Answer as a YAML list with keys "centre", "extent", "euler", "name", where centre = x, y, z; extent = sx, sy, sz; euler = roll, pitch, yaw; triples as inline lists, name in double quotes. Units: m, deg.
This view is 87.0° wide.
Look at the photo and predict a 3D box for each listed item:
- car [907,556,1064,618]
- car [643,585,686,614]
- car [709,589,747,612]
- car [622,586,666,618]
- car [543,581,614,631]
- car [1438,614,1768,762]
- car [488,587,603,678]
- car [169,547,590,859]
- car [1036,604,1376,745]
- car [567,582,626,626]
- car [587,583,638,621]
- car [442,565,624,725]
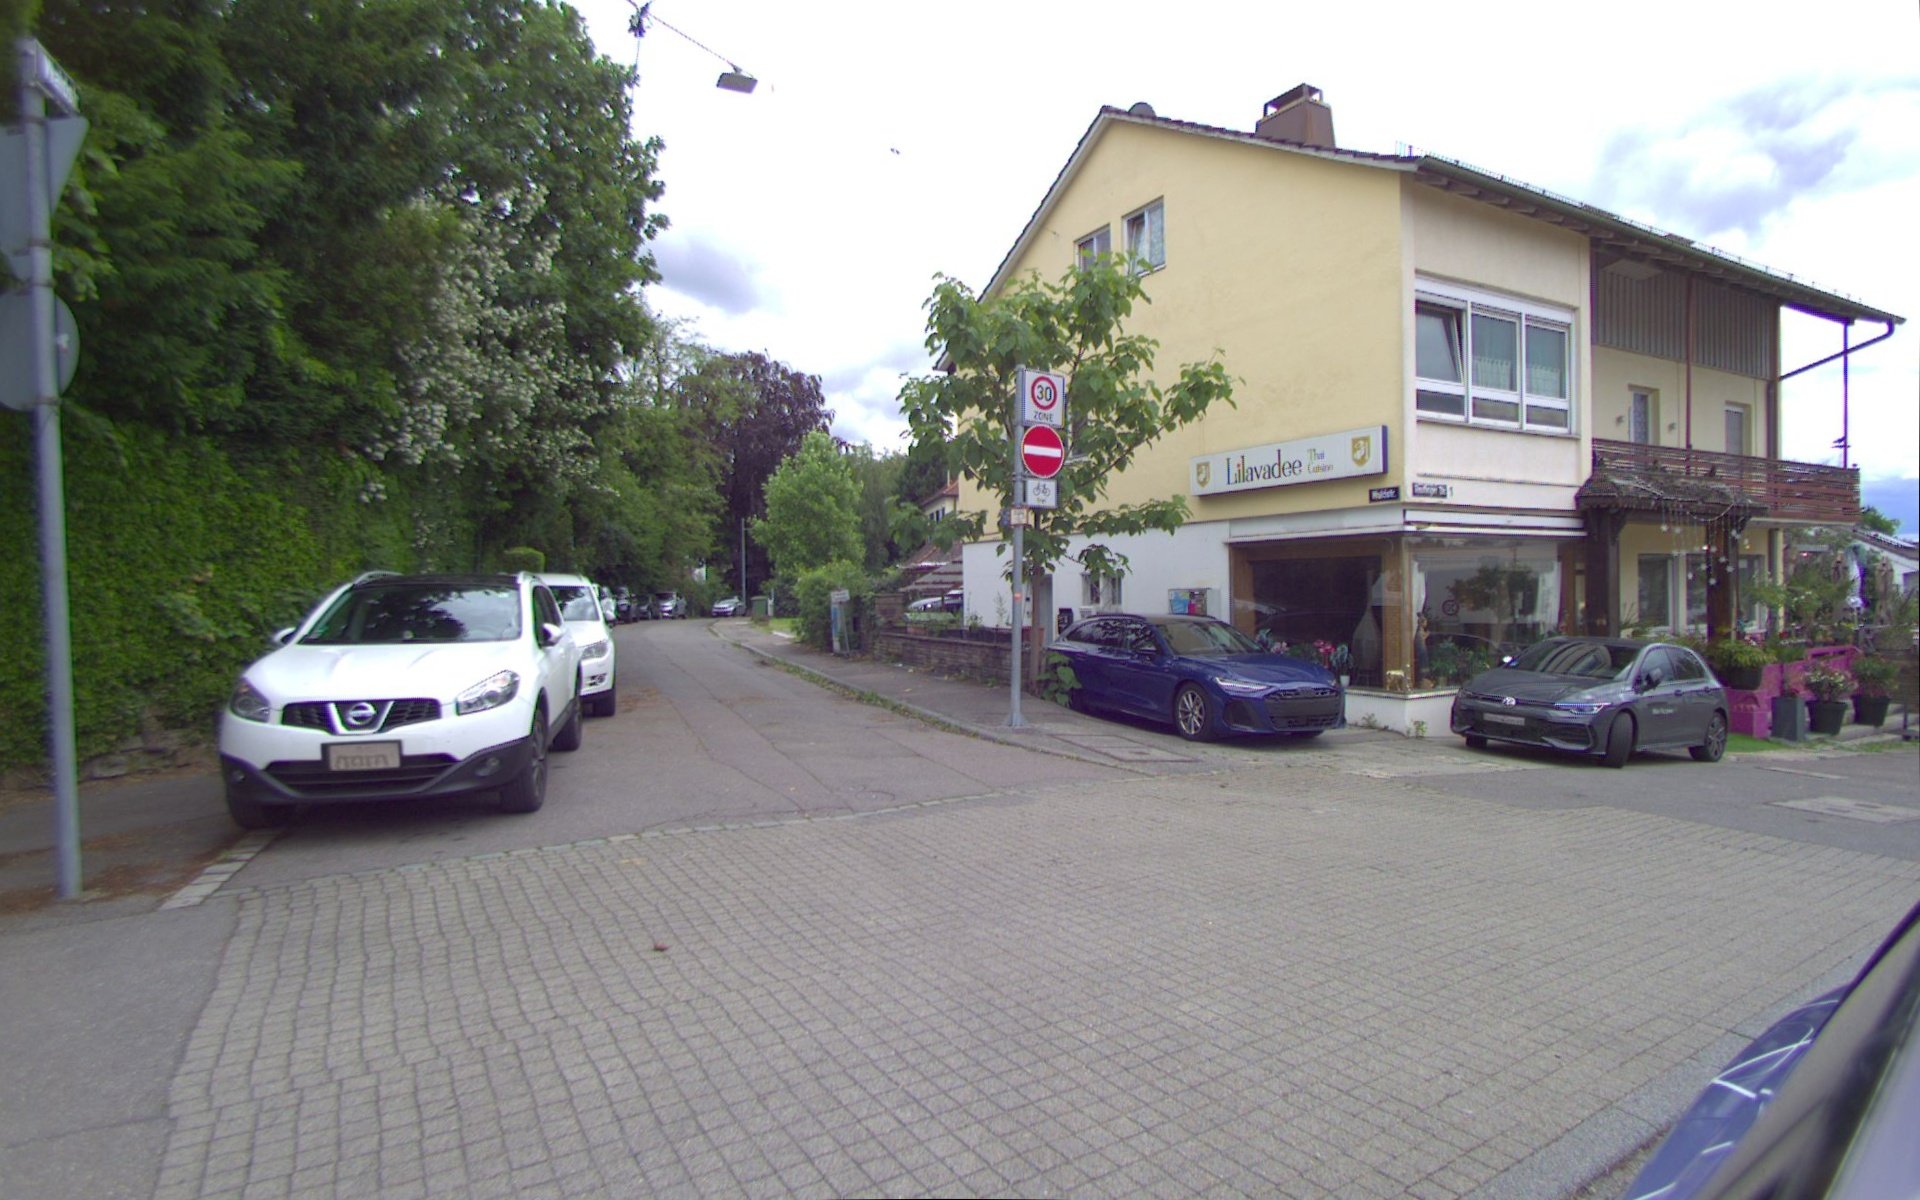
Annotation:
- centre: [0.750, -0.366, 30.316]
  extent: [4.235, 1.480, 1.802]
  euler: [4, -2, -19]
  name: "car"
- centre: [-16.251, -0.037, 55.797]
  extent: [1.543, 1.502, 3.476]
  euler: [0, 1, -3]
  name: "car"
- centre: [-16.360, 0.033, 71.460]
  extent: [1.547, 1.502, 3.468]
  euler: [0, 1, 7]
  name: "car"
- centre: [-15.927, 0.078, 51.115]
  extent: [1.542, 1.502, 3.479]
  euler: [-1, 1, -8]
  name: "car"
- centre: [-12.225, 0.141, 32.595]
  extent: [1.542, 1.502, 3.745]
  euler: [-1, 1, -11]
  name: "car"
- centre: [7.937, 1.067, 12.377]
  extent: [4.242, 1.480, 1.800]
  euler: [5, -2, -34]
  name: "car"
- centre: [-7.534, 0.502, 18.654]
  extent: [1.761, 1.441, 4.080]
  euler: [-1, 1, -20]
  name: "car"
- centre: [-3.872, 0.509, 7.558]
  extent: [1.761, 1.643, 4.144]
  euler: [-1, 1, -16]
  name: "car"
- centre: [2.908, 0.830, 13.215]
  extent: [1.761, 1.405, 4.758]
  euler: [2, 0, -23]
  name: "car"
- centre: [-13.432, 0.107, 37.549]
  extent: [1.542, 1.502, 3.481]
  euler: [-1, 1, -11]
  name: "car"
- centre: [-14.216, 0.048, 41.529]
  extent: [1.542, 1.502, 3.481]
  euler: [-1, 1, -11]
  name: "car"
- centre: [-5.183, 0.436, 12.613]
  extent: [1.761, 1.643, 4.080]
  euler: [-1, 1, -20]
  name: "car"
